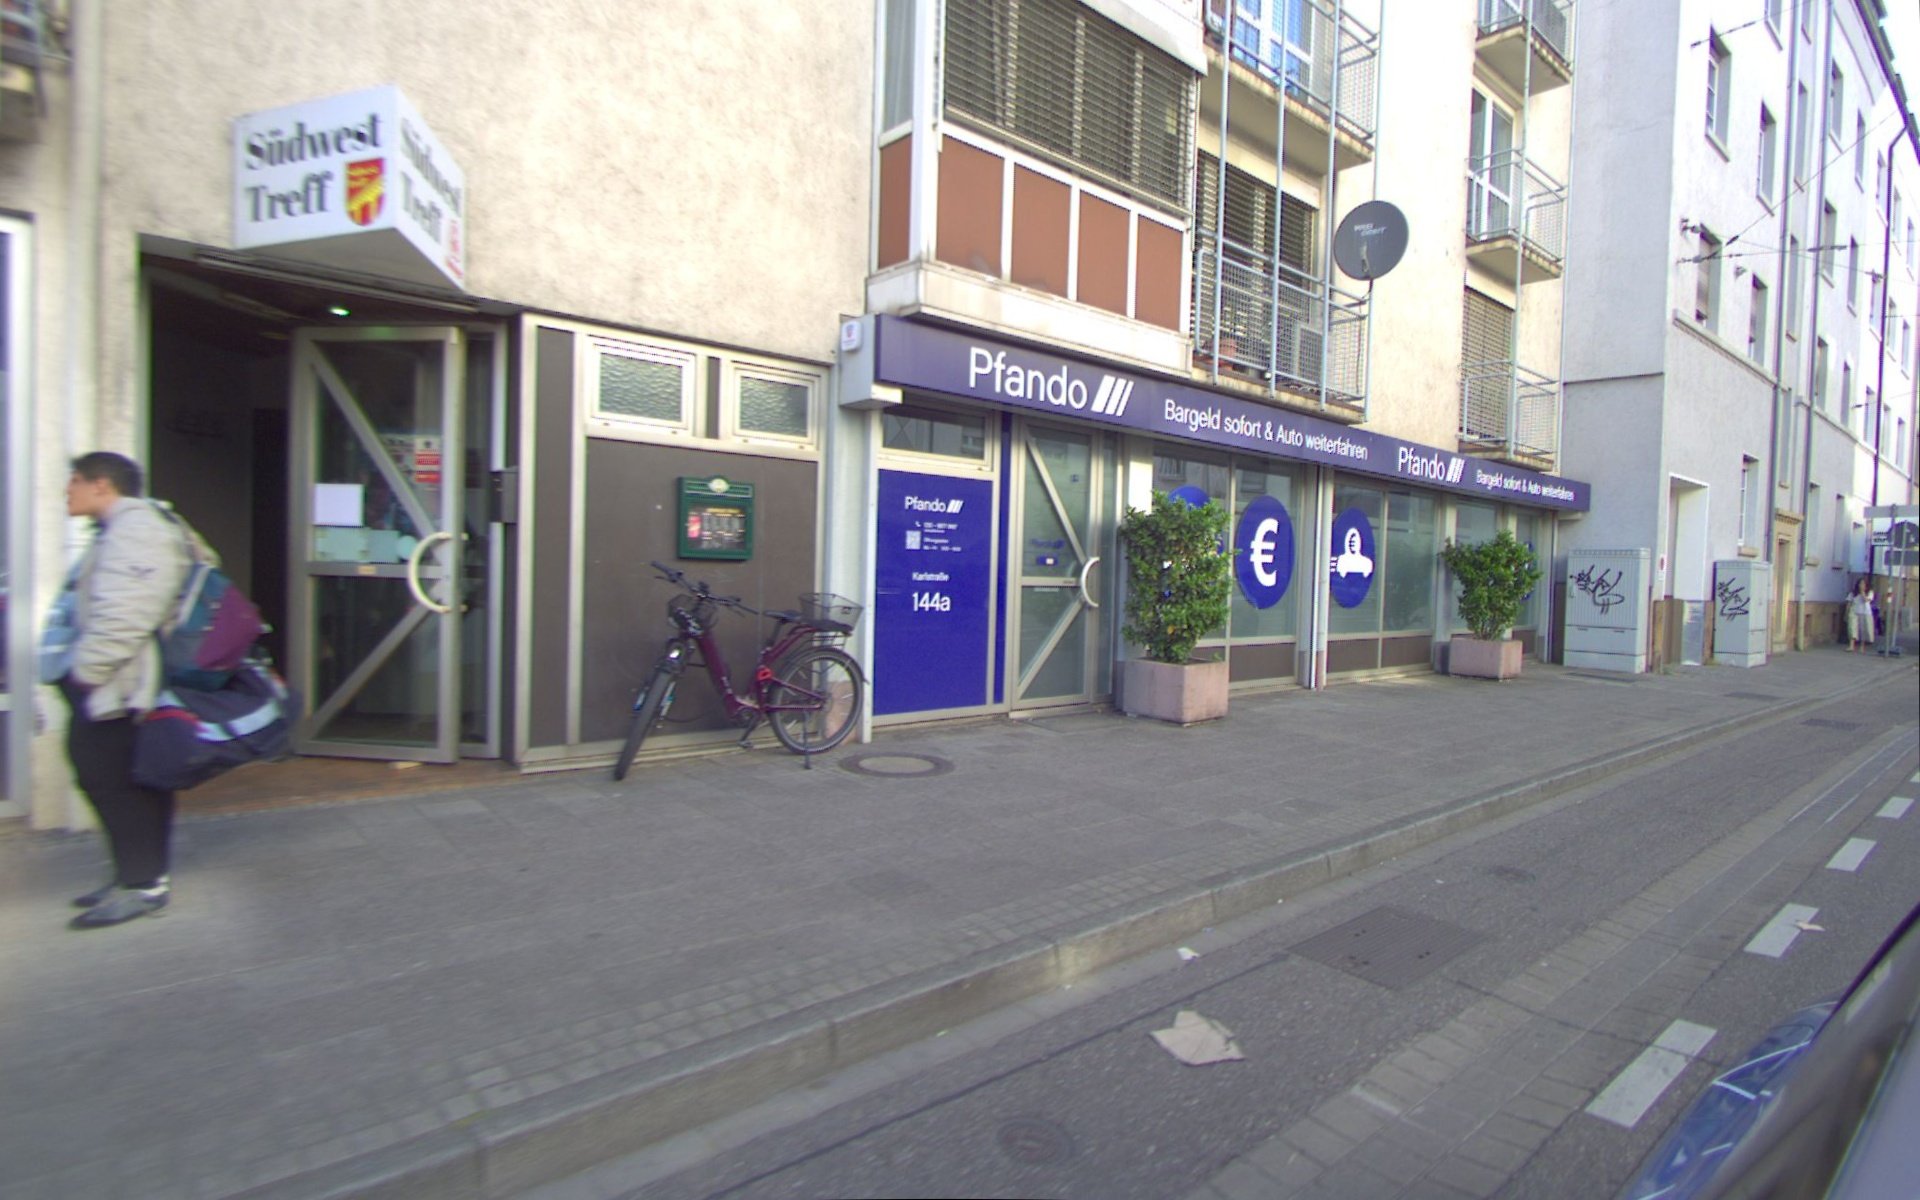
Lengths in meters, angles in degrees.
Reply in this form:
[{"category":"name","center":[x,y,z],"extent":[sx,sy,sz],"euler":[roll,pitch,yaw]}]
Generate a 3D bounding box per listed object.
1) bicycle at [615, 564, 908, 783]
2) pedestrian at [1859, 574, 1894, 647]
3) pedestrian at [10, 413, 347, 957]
[{"category":"bicycle","center":[-1.165,0.381,6.213],"extent":[1.746,1.176,0.497],"euler":[-1,2,-41]},{"category":"pedestrian","center":[21.041,0.227,23.234],"extent":[0.459,1.649,0.475],"euler":[0,2,-39]},{"category":"pedestrian","center":[-2.772,0.225,3.578],"extent":[0.885,1.611,0.798],"euler":[6,4,44]}]
